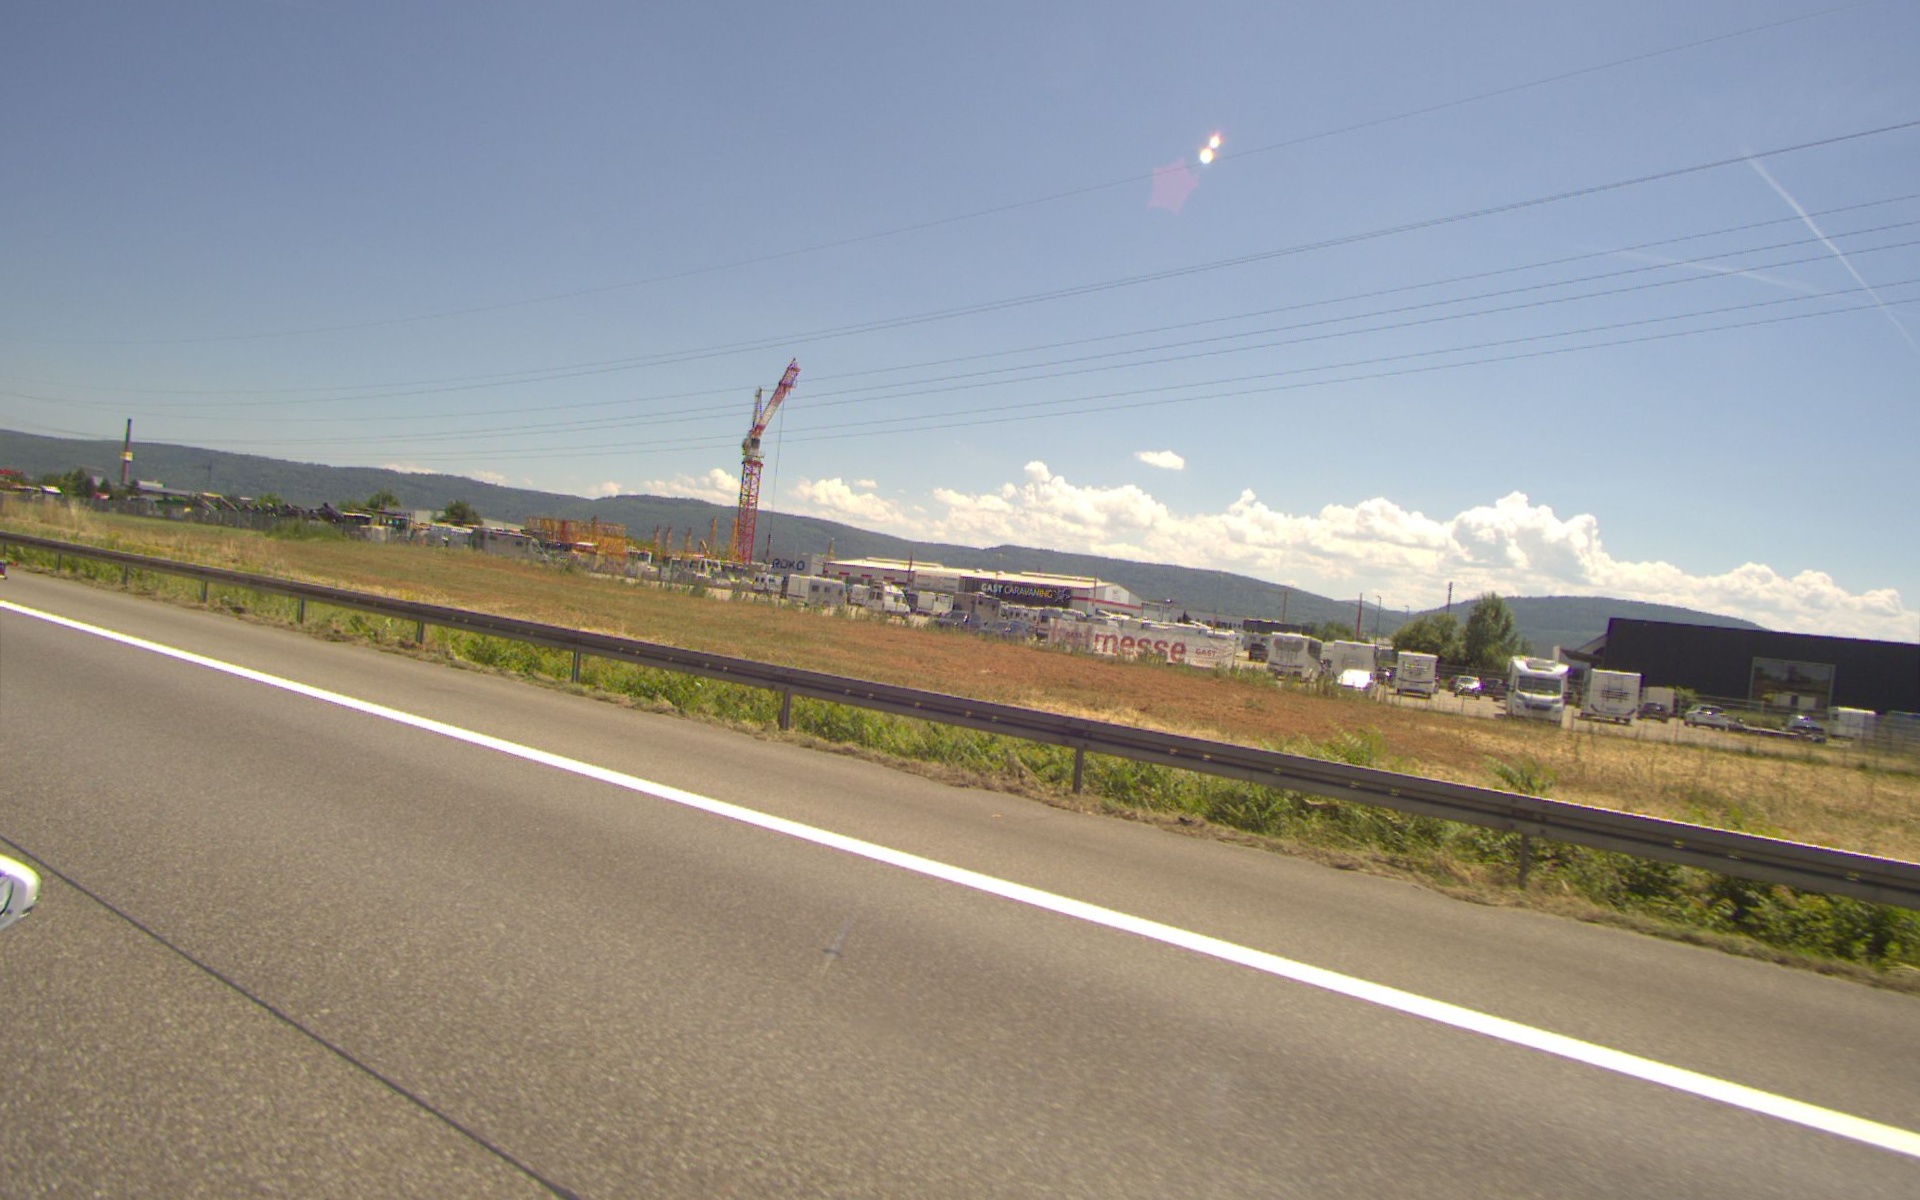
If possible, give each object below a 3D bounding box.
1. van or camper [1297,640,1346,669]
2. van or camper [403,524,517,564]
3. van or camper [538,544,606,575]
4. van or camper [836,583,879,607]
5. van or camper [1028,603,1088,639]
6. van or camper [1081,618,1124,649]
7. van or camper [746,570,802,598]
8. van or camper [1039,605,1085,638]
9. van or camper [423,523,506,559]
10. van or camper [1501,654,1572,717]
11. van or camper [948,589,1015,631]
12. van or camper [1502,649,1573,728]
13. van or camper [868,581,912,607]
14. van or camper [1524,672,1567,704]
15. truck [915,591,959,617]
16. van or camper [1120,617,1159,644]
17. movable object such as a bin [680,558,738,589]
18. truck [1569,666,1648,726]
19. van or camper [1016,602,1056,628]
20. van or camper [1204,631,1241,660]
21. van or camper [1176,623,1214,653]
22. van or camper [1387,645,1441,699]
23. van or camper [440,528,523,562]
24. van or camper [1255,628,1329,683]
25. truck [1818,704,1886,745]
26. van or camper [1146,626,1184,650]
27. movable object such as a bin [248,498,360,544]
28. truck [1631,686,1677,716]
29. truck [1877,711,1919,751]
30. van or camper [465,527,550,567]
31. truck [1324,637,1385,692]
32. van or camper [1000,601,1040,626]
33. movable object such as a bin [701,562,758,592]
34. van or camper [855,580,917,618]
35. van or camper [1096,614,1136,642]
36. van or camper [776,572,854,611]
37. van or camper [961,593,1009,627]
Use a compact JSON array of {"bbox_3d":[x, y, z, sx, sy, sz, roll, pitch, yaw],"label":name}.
[{"bbox_3d":[43.775,6.608,121.939,2.464,2.775,5.939,6,0,-14],"label":"van or camper"},{"bbox_3d":[-47.259,-5.228,95.421,3.109,2.552,9.318,7,0,33],"label":"van or camper"},{"bbox_3d":[-40.580,-4.229,105.349,2.560,2.432,6.121,7,0,33],"label":"van or camper"},{"bbox_3d":[-12.794,-0.672,125.873,4.857,2.416,2.159,7,1,33],"label":"van or camper"},{"bbox_3d":[7.671,1.697,78.245,2.505,2.338,5.650,7,0,27],"label":"van or camper"},{"bbox_3d":[13.385,3.160,94.118,2.377,2.588,5.326,7,0,24],"label":"van or camper"},{"bbox_3d":[-20.803,-1.779,112.713,2.760,2.382,5.944,7,0,31],"label":"van or camper"},{"bbox_3d":[9.478,2.020,93.226,2.377,2.588,5.326,7,0,24],"label":"van or camper"},{"bbox_3d":[-44.770,-5.330,90.996,2.560,2.432,6.121,7,0,33],"label":"van or camper"},{"bbox_3d":[34.277,5.048,60.059,2.627,3.231,7.759,7,-1,25],"label":"van or camper"},{"bbox_3d":[1.823,0.823,81.126,2.381,2.801,6.455,7,0,30],"label":"van or camper"},{"bbox_3d":[27.329,4.161,47.776,2.393,3.138,7.753,7,-1,29],"label":"van or camper"},{"bbox_3d":[-8.601,-0.760,124.285,2.397,2.584,5.835,7,0,30],"label":"van or camper"},{"bbox_3d":[51.114,7.663,87.911,2.713,2.285,6.223,7,0,28],"label":"van or camper"},{"bbox_3d":[-2.720,0.458,120.559,2.397,2.565,5.835,7,0,30],"label":"truck"},{"bbox_3d":[20.995,3.604,117.564,2.600,2.765,5.948,7,0,28],"label":"van or camper"},{"bbox_3d":[-30.920,-3.278,123.957,6.695,3.068,2.914,6,1,32],"label":"movable object such as a bin"},{"bbox_3d":[37.385,5.469,58.248,2.725,2.915,7.756,7,-1,27],"label":"truck"},{"bbox_3d":[9.465,1.899,124.625,2.600,2.765,5.948,7,0,28],"label":"van or camper"},{"bbox_3d":[29.212,5.084,111.865,2.461,2.933,5.948,7,0,28],"label":"van or camper"},{"bbox_3d":[26.750,4.345,114.227,2.461,2.933,5.948,7,0,28],"label":"van or camper"},{"bbox_3d":[28.878,4.593,63.849,2.558,2.915,7.756,7,-1,27],"label":"van or camper"},{"bbox_3d":[-42.483,-4.865,89.486,2.560,2.247,6.121,7,0,33],"label":"van or camper"},{"bbox_3d":[21.298,3.616,64.270,3.101,2.915,7.756,7,-1,27],"label":"van or camper"},{"bbox_3d":[67.858,9.432,76.660,2.531,2.477,6.138,7,0,31],"label":"truck"},{"bbox_3d":[23.764,4.426,116.395,2.461,2.414,5.948,7,0,28],"label":"van or camper"},{"bbox_3d":[-69.981,-8.363,107.602,2.591,3.736,9.719,6,1,33],"label":"movable object such as a bin"},{"bbox_3d":[58.179,8.405,84.425,2.342,2.022,5.149,7,0,28],"label":"truck"},{"bbox_3d":[70.793,9.776,74.634,2.531,2.477,6.779,7,0,31],"label":"truck"},{"bbox_3d":[-39.324,-4.593,87.647,2.398,2.584,6.347,7,0,33],"label":"van or camper"},{"bbox_3d":[24.680,4.041,62.651,2.558,2.915,7.756,7,-1,27],"label":"truck"},{"bbox_3d":[6.859,1.563,114.165,2.336,2.322,5.268,7,0,27],"label":"van or camper"},{"bbox_3d":[-29.102,-2.887,127.056,6.695,3.068,2.914,6,1,32],"label":"movable object such as a bin"},{"bbox_3d":[-6.256,-0.032,86.168,2.572,2.711,5.265,7,0,30],"label":"van or camper"},{"bbox_3d":[18.496,3.353,119.217,2.600,2.765,5.948,7,0,28],"label":"van or camper"},{"bbox_3d":[-12.553,-0.710,87.484,3.269,2.711,6.359,7,0,30],"label":"van or camper"},{"bbox_3d":[2.455,1.004,97.657,2.570,2.799,5.270,7,0,24],"label":"van or camper"}]
